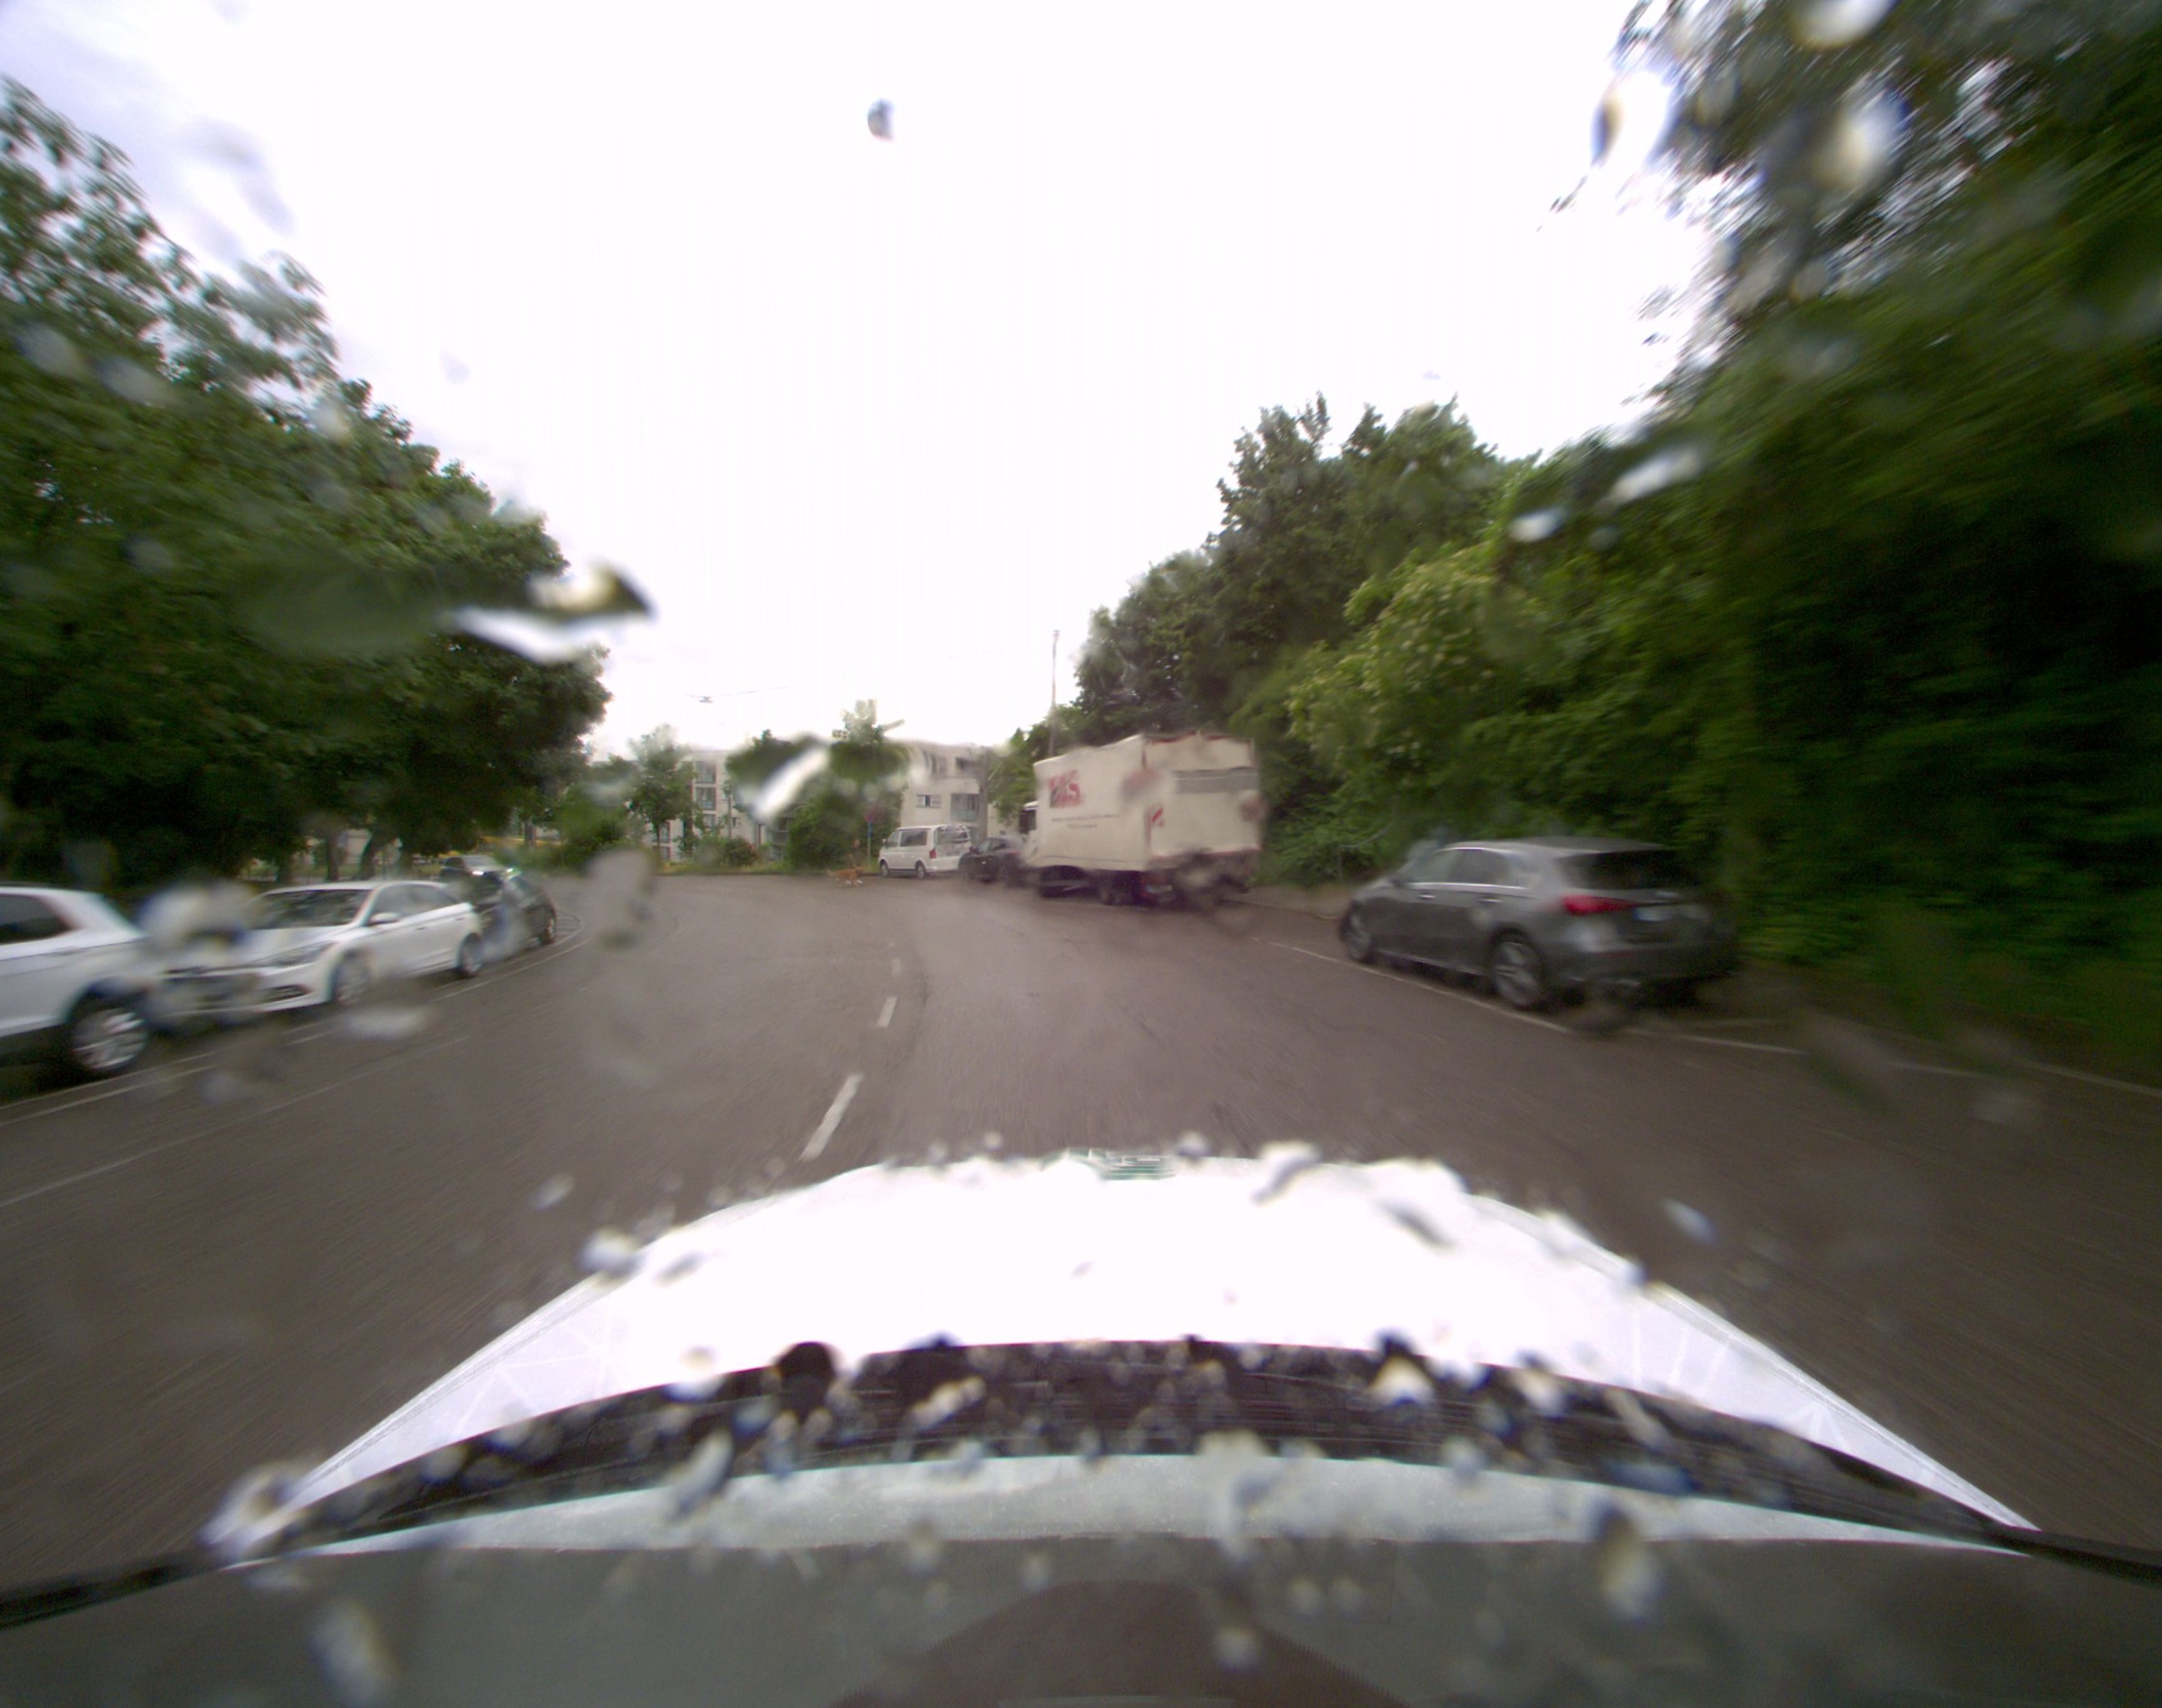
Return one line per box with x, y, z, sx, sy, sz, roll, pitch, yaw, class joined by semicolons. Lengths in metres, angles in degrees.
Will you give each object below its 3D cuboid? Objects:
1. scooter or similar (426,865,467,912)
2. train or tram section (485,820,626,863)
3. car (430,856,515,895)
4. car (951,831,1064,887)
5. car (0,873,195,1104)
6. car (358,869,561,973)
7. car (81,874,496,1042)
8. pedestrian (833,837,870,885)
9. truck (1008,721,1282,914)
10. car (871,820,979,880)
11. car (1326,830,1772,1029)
-18.014;0.969;23.149;0.611;1.268;1.425;1;-1;-26;scooter or similar
-54.040;-1.238;83.380;19.035;3.946;3.363;-1;2;29;train or tram section
-30.064;1.016;40.215;4.254;1.669;1.836;0;4;33;car
-2.444;0.127;26.201;1.731;1.555;4.232;-5;3;-34;car
-8.274;0.960;4.935;1.804;1.583;4.011;-2;-1;-10;car
-11.032;1.084;14.822;1.779;1.442;3.988;-3;1;-20;car
-9.306;1.072;10.133;1.753;1.456;4.030;-3;1;-12;car
-8.392;0.259;29.782;0.915;1.661;0.809;-2;3;17;pedestrian
0.993;-0.784;19.491;3.020;3.573;8.275;-4;2;-22;truck
-6.049;-0.167;31.242;1.893;2.013;4.636;-7;4;-40;car
4.261;0.523;8.294;1.720;1.444;4.111;-2;1;-10;car
